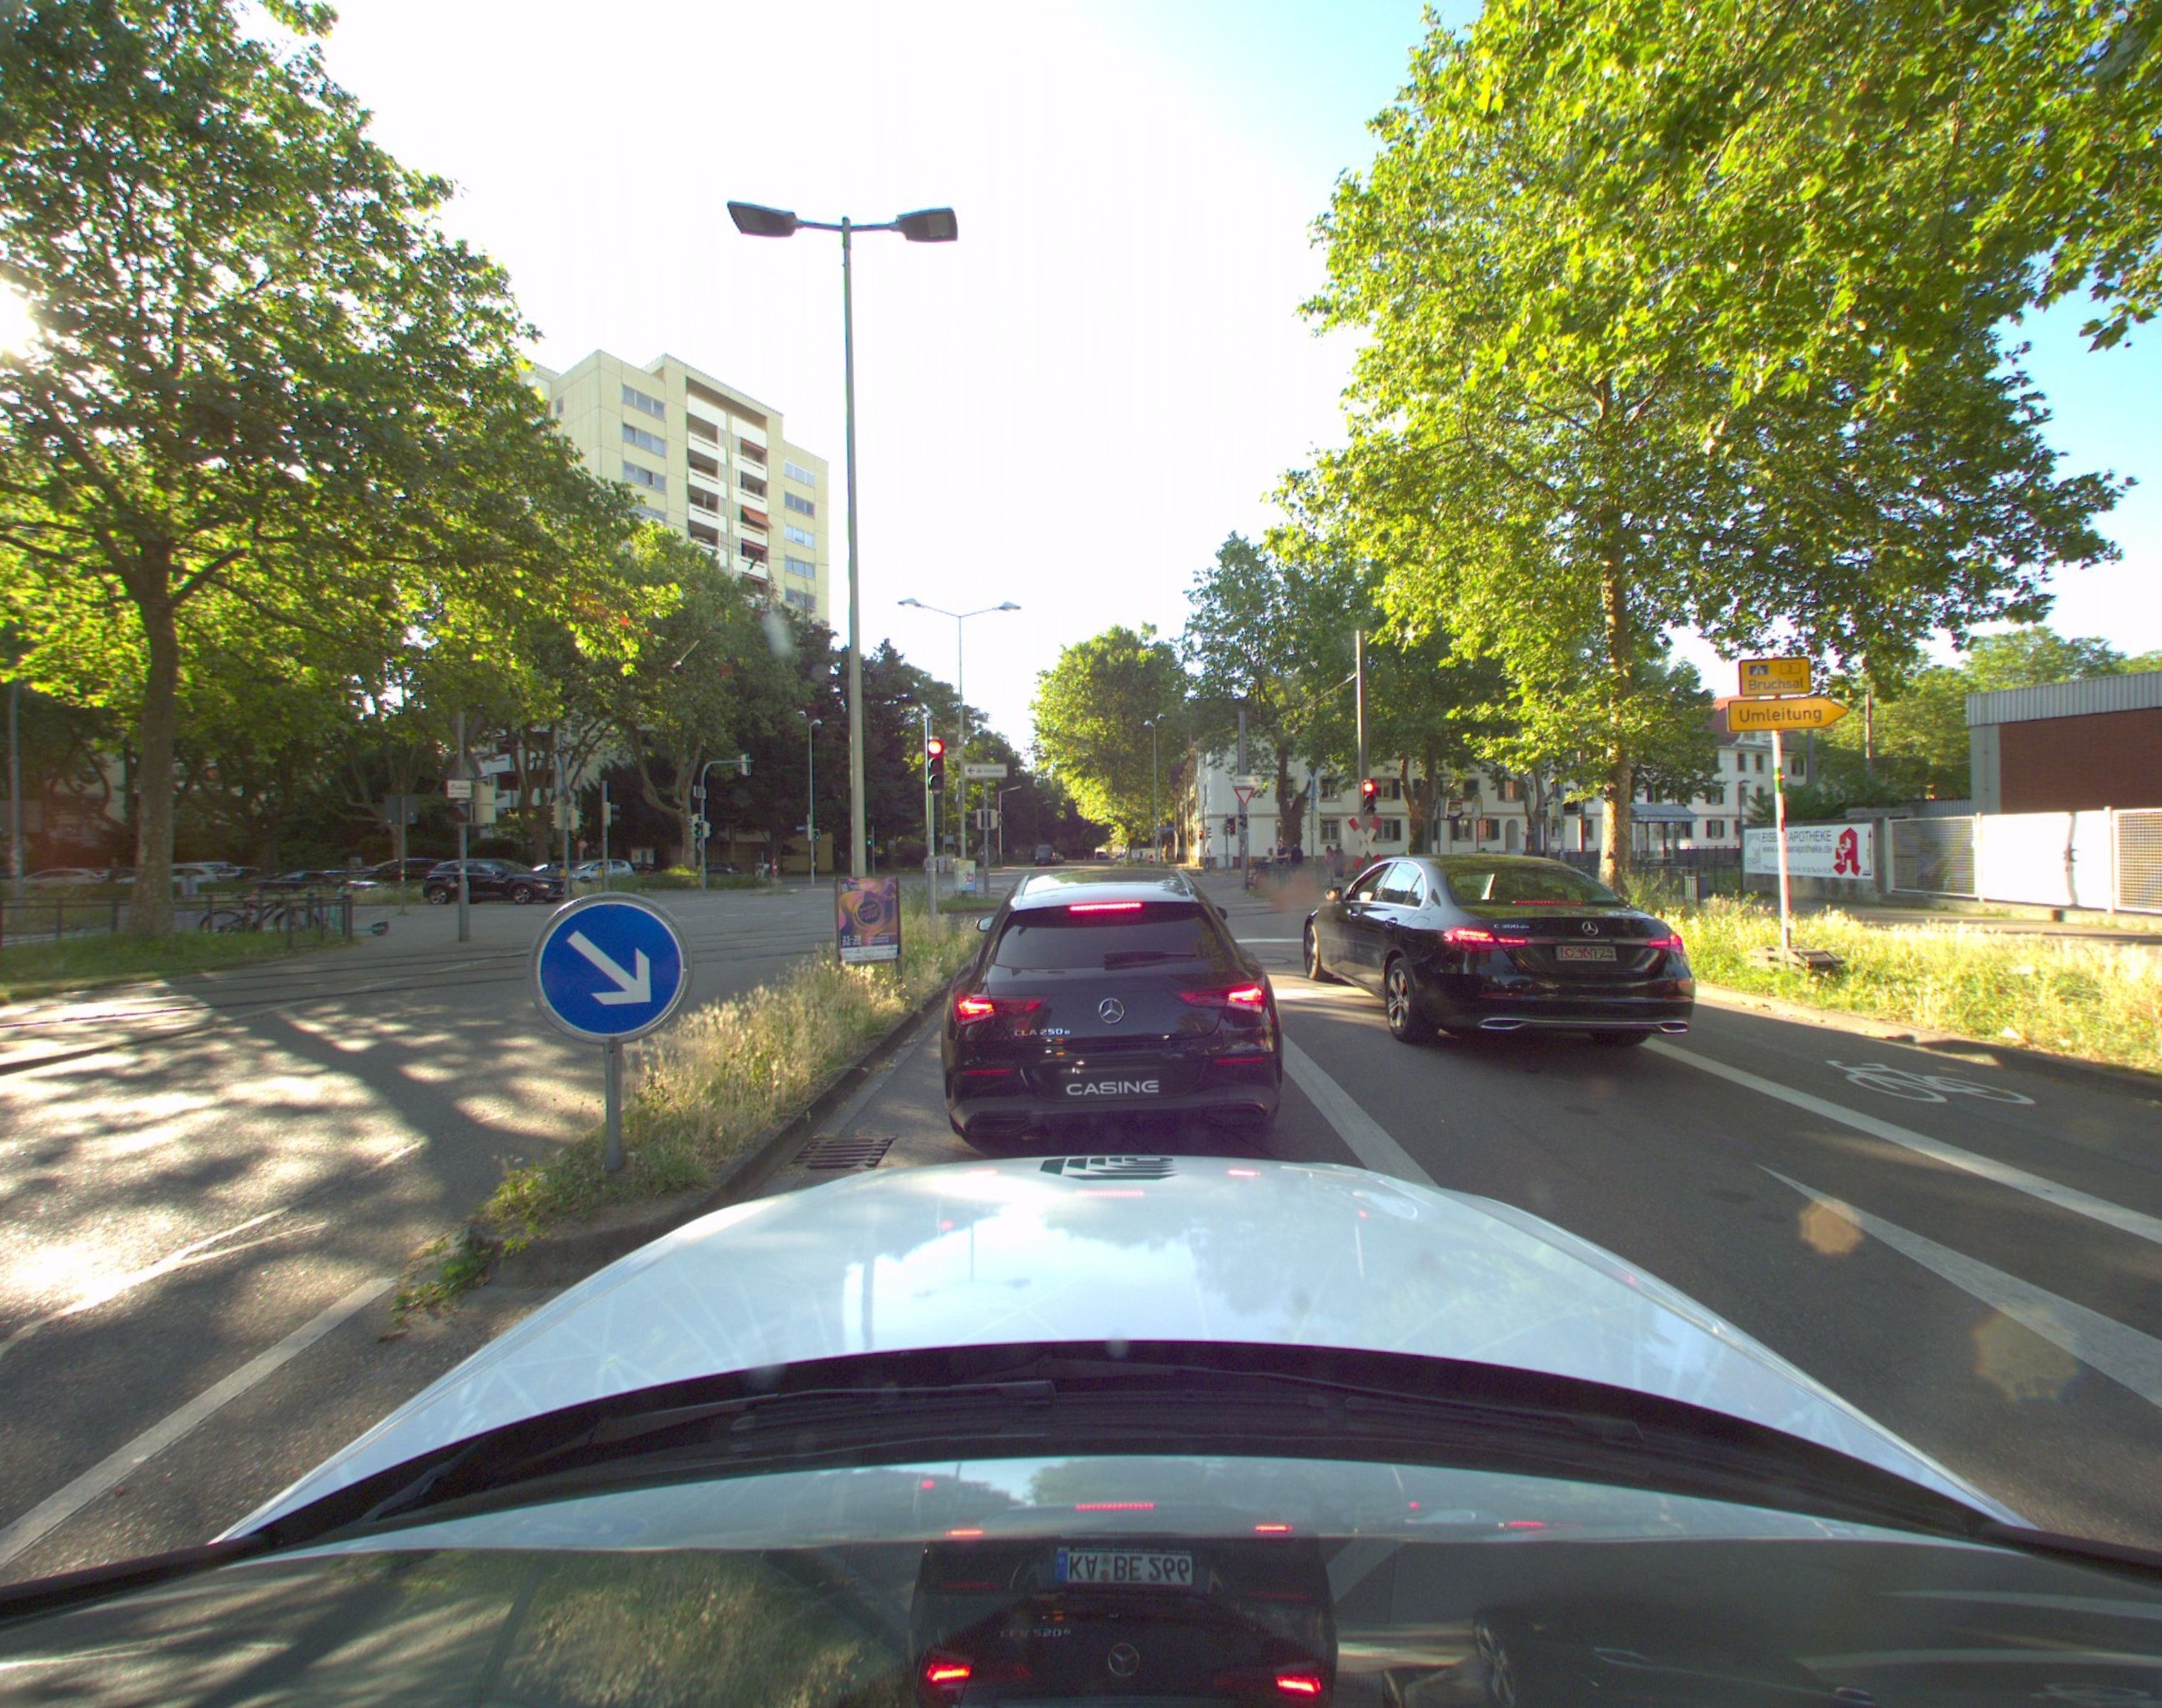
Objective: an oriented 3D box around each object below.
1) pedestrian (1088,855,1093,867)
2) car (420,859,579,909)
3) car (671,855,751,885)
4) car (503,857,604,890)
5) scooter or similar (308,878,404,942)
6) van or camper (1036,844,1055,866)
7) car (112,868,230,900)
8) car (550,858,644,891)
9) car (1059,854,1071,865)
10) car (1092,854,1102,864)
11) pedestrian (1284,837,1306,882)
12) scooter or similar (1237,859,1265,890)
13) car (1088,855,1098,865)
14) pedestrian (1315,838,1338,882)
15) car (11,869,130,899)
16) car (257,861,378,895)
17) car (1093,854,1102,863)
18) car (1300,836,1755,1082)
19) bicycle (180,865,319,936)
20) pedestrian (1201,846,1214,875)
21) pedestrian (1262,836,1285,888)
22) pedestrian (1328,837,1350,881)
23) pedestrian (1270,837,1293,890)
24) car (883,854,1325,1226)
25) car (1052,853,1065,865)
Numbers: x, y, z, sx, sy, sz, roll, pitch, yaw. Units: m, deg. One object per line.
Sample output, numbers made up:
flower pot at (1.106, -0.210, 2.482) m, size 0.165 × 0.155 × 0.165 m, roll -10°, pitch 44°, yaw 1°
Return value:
pedestrian at (1.538, 1.053, 130.207) m, size 0.704 × 1.918 × 0.837 m, roll 0°, pitch -1°, yaw -8°
car at (-19.384, 0.970, 27.293) m, size 3.981 × 1.596 × 1.735 m, roll 0°, pitch -1°, yaw -5°
car at (-22.639, 0.958, 49.928) m, size 3.963 × 1.774 × 2.005 m, roll -1°, pitch -1°, yaw 9°
car at (-27.220, 0.974, 42.168) m, size 1.716 × 1.596 × 4.025 m, roll -1°, pitch -1°, yaw 32°
scooter or similar at (-15.093, 1.141, 16.988) m, size 0.408 × 1.239 × 1.450 m, roll -1°, pitch -1°, yaw 40°
van or camper at (-4.308, 0.129, 100.055) m, size 1.986 × 2.541 × 4.653 m, roll 0°, pitch -1°, yaw 2°
car at (-49.161, 1.586, 44.078) m, size 1.716 × 1.596 × 4.025 m, roll -1°, pitch -1°, yaw 32°
car at (-24.924, 1.027, 42.034) m, size 1.716 × 1.596 × 3.831 m, roll -1°, pitch -1°, yaw 32°
car at (-2.471, 0.828, 126.682) m, size 1.727 × 1.765 × 3.972 m, roll 0°, pitch -1°, yaw 2°
car at (2.916, 0.981, 150.548) m, size 1.727 × 1.765 × 4.020 m, roll 0°, pitch -1°, yaw 2°
pedestrian at (9.279, 0.251, 35.262) m, size 0.703 × 1.918 × 0.838 m, roll 0°, pitch -1°, yaw -2°
scooter or similar at (6.339, 0.757, 30.377) m, size 0.826 × 1.104 × 0.808 m, roll 0°, pitch -1°, yaw -4°
car at (2.102, 1.008, 145.688) m, size 1.727 × 1.765 × 4.020 m, roll 0°, pitch -1°, yaw 2°
pedestrian at (10.722, 0.260, 35.565) m, size 0.703 × 1.918 × 0.838 m, roll 0°, pitch -1°, yaw -2°
car at (-57.101, 1.664, 46.081) m, size 1.716 × 1.596 × 4.025 m, roll -1°, pitch -1°, yaw 32°
car at (-37.415, 1.145, 40.005) m, size 1.716 × 1.596 × 4.025 m, roll -1°, pitch -1°, yaw 32°
car at (3.246, 0.902, 158.630) m, size 1.727 × 1.765 × 4.020 m, roll 0°, pitch -1°, yaw 2°
car at (3.383, 0.618, 7.315) m, size 1.881 × 1.490 × 4.386 m, roll 0°, pitch 2°, yaw 3°
bicycle at (-15.954, 0.869, 15.677) m, size 1.845 × 1.307 × 0.380 m, roll 0°, pitch -1°, yaw -26°
pedestrian at (8.389, 0.430, 54.119) m, size 0.703 × 1.918 × 0.838 m, roll 0°, pitch -1°, yaw -2°
pedestrian at (7.287, 0.299, 30.865) m, size 0.681 × 1.918 × 0.707 m, roll 0°, pitch -1°, yaw -2°
pedestrian at (11.572, 0.231, 36.545) m, size 0.703 × 1.918 × 0.838 m, roll 0°, pitch -1°, yaw -2°
pedestrian at (7.412, 0.344, 30.089) m, size 0.680 × 1.918 × 0.707 m, roll 0°, pitch -1°, yaw 0°
car at (0.205, 0.796, 5.484) m, size 1.881 × 1.450 × 4.004 m, roll 0°, pitch 2°, yaw 3°
car at (-3.248, 0.763, 117.860) m, size 1.727 × 1.765 × 4.087 m, roll 0°, pitch -1°, yaw 2°
